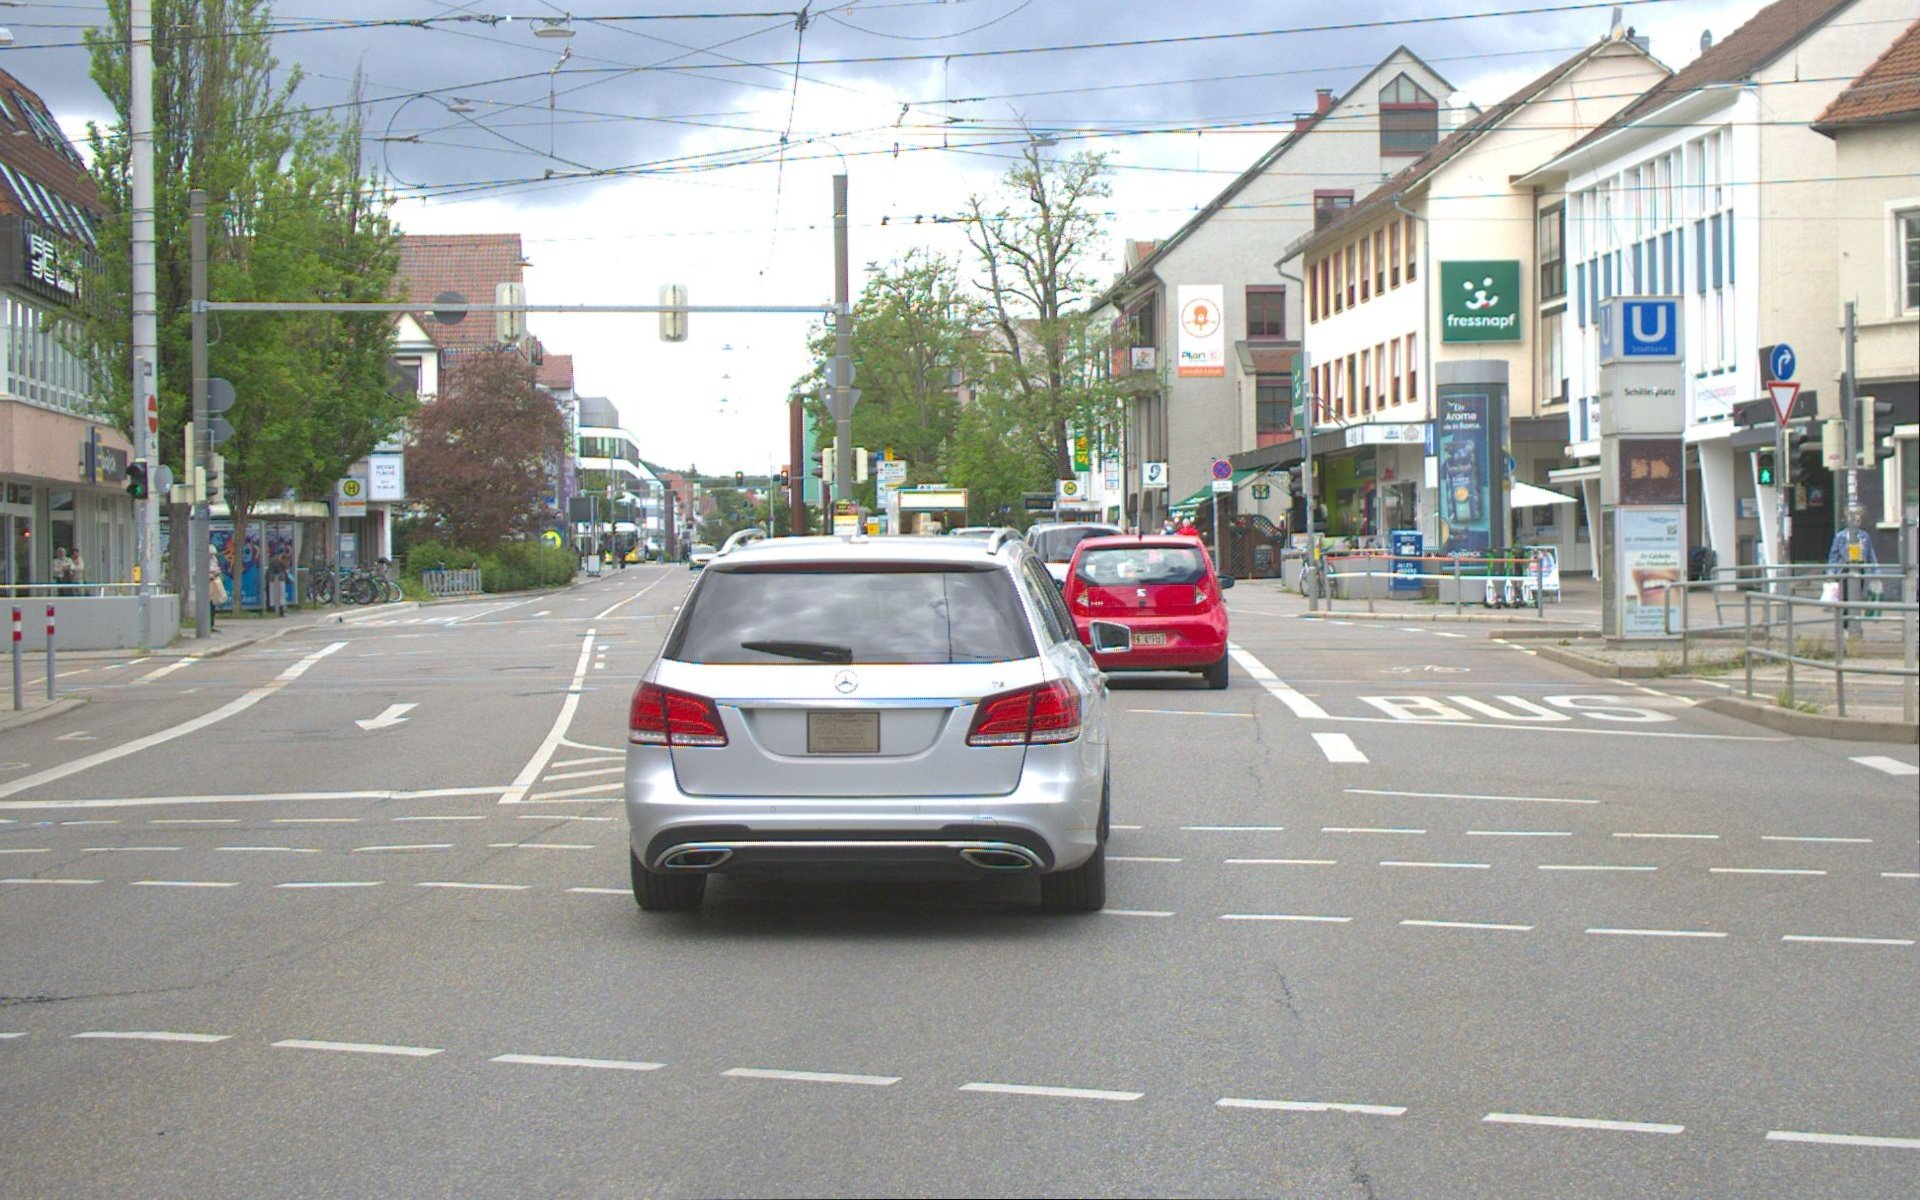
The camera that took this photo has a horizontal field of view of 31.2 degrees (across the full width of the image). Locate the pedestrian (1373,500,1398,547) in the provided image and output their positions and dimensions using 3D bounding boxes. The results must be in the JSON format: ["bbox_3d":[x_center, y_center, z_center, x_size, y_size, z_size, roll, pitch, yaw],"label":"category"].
[{"bbox_3d":[11.077,-1.987,89.506,0.533,1.214,0.580,0,1,-6],"label":"pedestrian"}]

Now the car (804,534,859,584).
[{"bbox_3d":[-5.309,-1.702,141.810,1.993,2.007,4.001,0,1,-6],"label":"car"}]

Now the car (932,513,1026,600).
[{"bbox_3d":[0.373,-0.922,72.234,1.734,1.753,4.001,-1,1,-3],"label":"car"}]

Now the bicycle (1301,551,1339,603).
[{"bbox_3d":[7.724,-0.503,73.841,0.448,1.103,2.149,-1,1,-3],"label":"bicycle"}]

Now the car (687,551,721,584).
[{"bbox_3d":[-15.849,-2.037,212.431,1.993,2.007,4.001,0,1,-6],"label":"car"}]

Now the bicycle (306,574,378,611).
[{"bbox_3d":[-16.967,-0.211,94.397,1.937,1.025,0.530,0,1,-13],"label":"bicycle"}]

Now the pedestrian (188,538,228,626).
[{"bbox_3d":[-13.826,-0.340,63.218,0.633,1.600,0.705,-1,1,-17],"label":"pedestrian"}]

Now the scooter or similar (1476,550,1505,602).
[{"bbox_3d":[10.289,-0.460,66.725,0.271,0.998,1.029,-1,1,-7],"label":"scooter or similar"}]

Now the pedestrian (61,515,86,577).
[{"bbox_3d":[-22.973,-1.395,89.099,0.577,1.600,0.644,-1,1,-17],"label":"pedestrian"}]

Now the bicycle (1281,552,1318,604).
[{"bbox_3d":[7.276,-0.488,73.814,0.448,1.087,2.149,-1,1,-3],"label":"bicycle"}]

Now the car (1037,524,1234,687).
[{"bbox_3d":[1.776,0.011,33.680,1.734,1.503,3.999,0,1,6],"label":"car"}]

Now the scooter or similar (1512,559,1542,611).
[{"bbox_3d":[11.015,-0.291,66.840,0.271,0.998,1.029,-1,1,-7],"label":"scooter or similar"}]

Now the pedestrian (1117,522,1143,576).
[{"bbox_3d":[4.515,-1.346,91.263,0.577,1.430,0.651,0,1,-9],"label":"pedestrian"}]

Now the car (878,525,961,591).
[{"bbox_3d":[-1.129,-1.155,93.577,1.993,1.744,4.001,0,1,-4],"label":"car"}]

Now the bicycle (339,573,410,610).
[{"bbox_3d":[-16.489,-0.238,96.783,1.937,1.025,0.530,0,1,-13],"label":"bicycle"}]

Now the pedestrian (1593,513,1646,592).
[{"bbox_3d":[13.253,-0.950,69.076,0.640,1.586,0.898,0,1,-24],"label":"pedestrian"}]

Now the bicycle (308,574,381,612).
[{"bbox_3d":[-16.784,-0.202,93.748,1.937,1.025,0.530,0,1,-13],"label":"bicycle"}]

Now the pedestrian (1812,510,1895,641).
[{"bbox_3d":[11.935,-0.329,45.953,0.840,1.712,0.727,-1,1,-7],"label":"pedestrian"}]

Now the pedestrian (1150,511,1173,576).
[{"bbox_3d":[5.232,-1.464,89.163,0.578,1.661,0.651,0,1,2],"label":"pedestrian"}]

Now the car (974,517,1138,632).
[{"bbox_3d":[1.294,-0.372,47.850,1.734,1.503,4.001,-1,1,-6],"label":"car"}]

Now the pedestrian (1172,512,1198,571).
[{"bbox_3d":[5.618,-1.463,85.782,0.578,1.464,0.651,0,1,-2],"label":"pedestrian"}]

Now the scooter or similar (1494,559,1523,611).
[{"bbox_3d":[10.654,-0.291,66.787,0.271,0.998,1.029,-1,1,-7],"label":"scooter or similar"}]

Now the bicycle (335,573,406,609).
[{"bbox_3d":[-16.762,-0.251,97.742,1.937,1.025,0.530,0,1,-13],"label":"bicycle"}]

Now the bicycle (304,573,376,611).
[{"bbox_3d":[-17.138,-0.218,94.981,1.937,1.025,0.530,0,1,-13],"label":"bicycle"}]

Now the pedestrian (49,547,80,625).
[{"bbox_3d":[-21.295,-0.337,81.726,0.642,1.830,0.580,-1,1,-18],"label":"pedestrian"}]

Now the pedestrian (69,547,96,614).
[{"bbox_3d":[-21.222,-0.468,83.106,0.577,1.600,0.644,-1,1,-17],"label":"pedestrian"}]

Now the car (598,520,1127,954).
[{"bbox_3d":[-0.305,0.449,14.260,1.846,1.503,4.171,-1,1,1],"label":"car"}]
